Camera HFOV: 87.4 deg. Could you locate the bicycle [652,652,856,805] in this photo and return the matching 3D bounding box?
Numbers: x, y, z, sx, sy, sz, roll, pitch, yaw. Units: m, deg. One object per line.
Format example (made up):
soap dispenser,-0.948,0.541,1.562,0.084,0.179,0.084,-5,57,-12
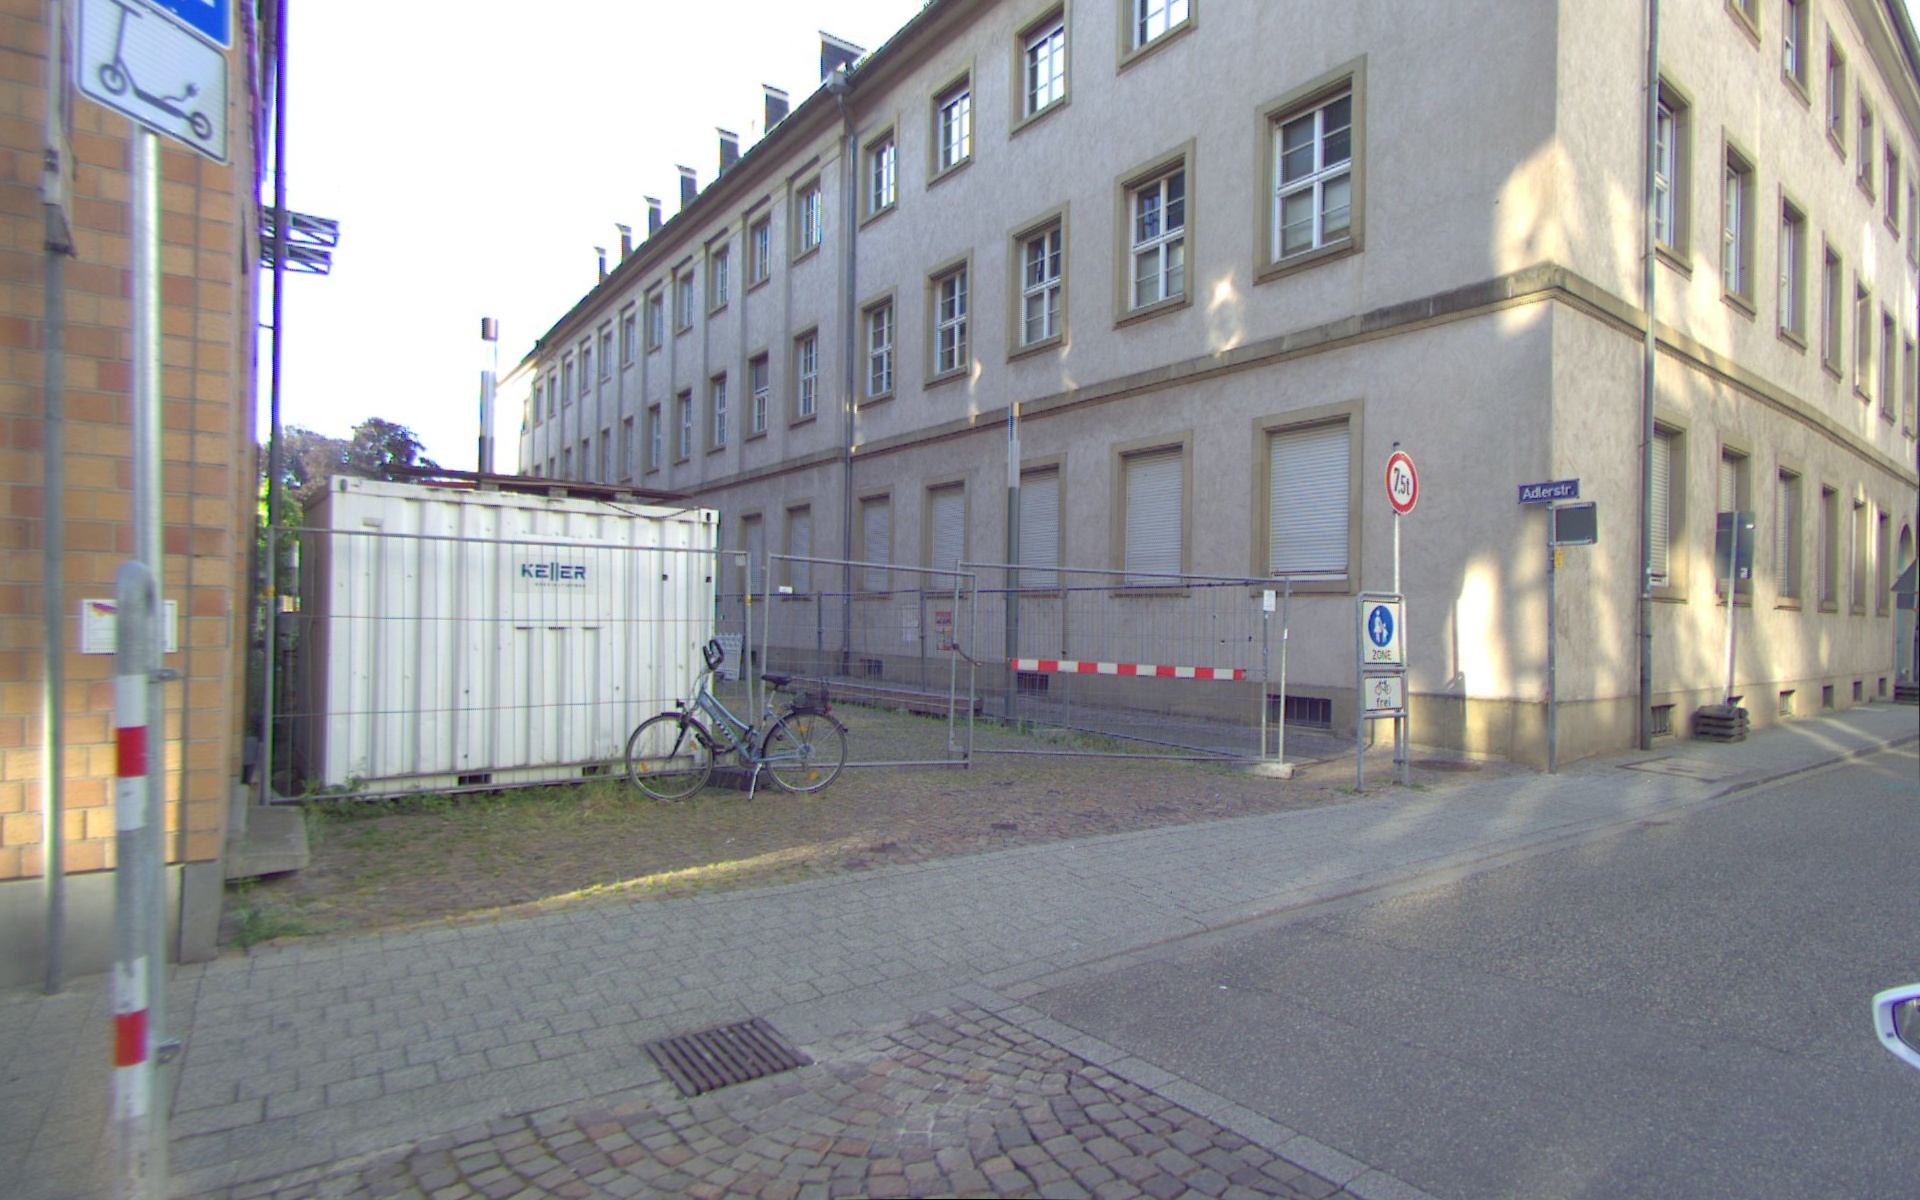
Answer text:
bicycle,-1.666,1.020,8.161,1.565,1.159,0.430,1,0,-16
